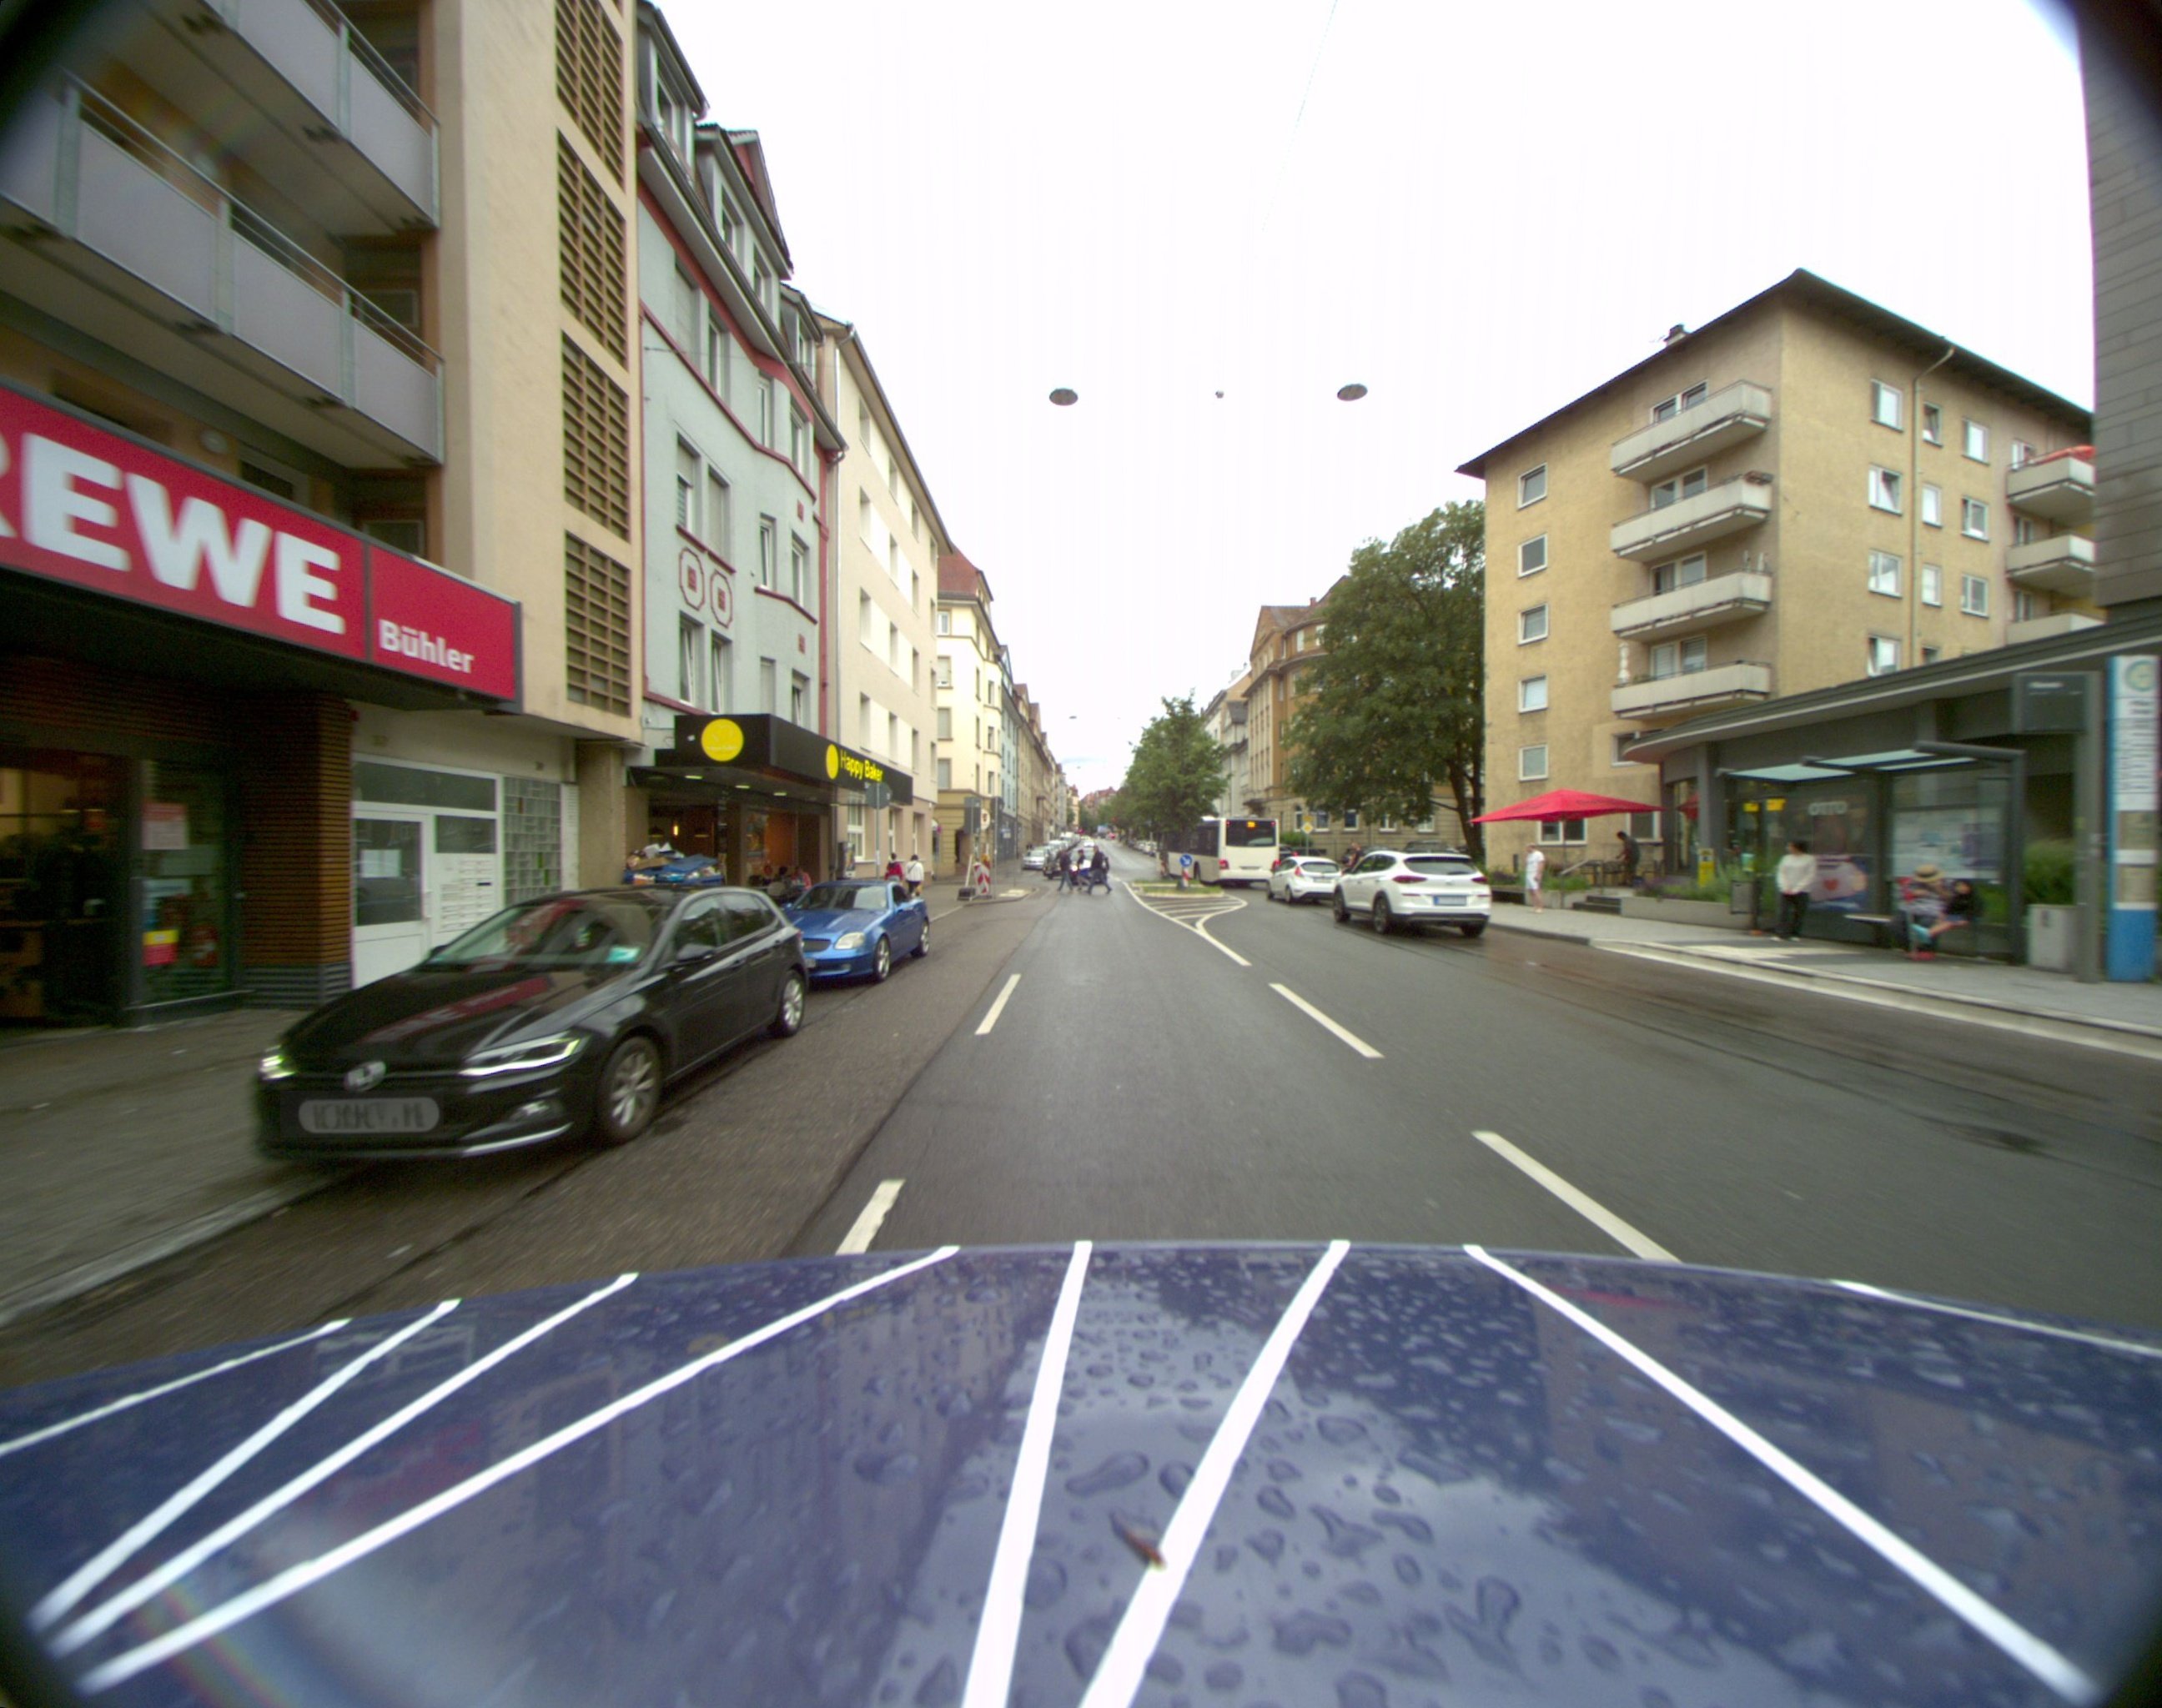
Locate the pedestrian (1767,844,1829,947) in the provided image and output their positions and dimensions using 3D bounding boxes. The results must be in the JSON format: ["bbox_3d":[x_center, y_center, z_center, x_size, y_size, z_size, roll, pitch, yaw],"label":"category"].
[{"bbox_3d":[10.977,0.620,11.642,0.438,1.540,0.533,-1,1,0],"label":"pedestrian"}]

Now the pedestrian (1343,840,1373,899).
[{"bbox_3d":[9.523,0.511,26.117,0.703,2.002,0.782,-1,2,-3],"label":"pedestrian"}]

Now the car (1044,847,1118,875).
[{"bbox_3d":[-0.043,0.357,41.822,3.998,1.412,1.811,-1,0,-3],"label":"car"}]

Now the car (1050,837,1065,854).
[{"bbox_3d":[-2.751,-1.004,90.072,1.733,1.887,3.550,-1,1,-1],"label":"car"}]

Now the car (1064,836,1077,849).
[{"bbox_3d":[-1.581,-1.816,118.922,1.999,1.871,3.999,-1,1,0],"label":"car"}]

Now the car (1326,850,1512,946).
[{"bbox_3d":[6.570,0.758,15.338,1.899,1.564,4.124,1,1,0],"label":"car"}]

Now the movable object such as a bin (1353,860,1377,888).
[{"bbox_3d":[11.184,0.787,29.933,0.742,1.052,0.579,-1,2,4],"label":"movable object such as a bin"}]

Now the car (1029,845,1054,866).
[{"bbox_3d":[-3.233,0.135,62.408,1.817,1.583,3.893,-1,1,-1],"label":"car"}]

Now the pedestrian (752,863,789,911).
[{"bbox_3d":[-8.460,0.882,20.698,0.703,1.251,0.658,2,1,1],"label":"pedestrian"}]

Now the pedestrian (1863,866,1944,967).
[{"bbox_3d":[10.797,0.805,9.991,0.469,1.270,0.549,-1,1,0],"label":"pedestrian"}]

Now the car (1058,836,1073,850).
[{"bbox_3d":[-2.206,-1.618,109.801,1.999,1.871,3.999,-1,1,0],"label":"car"}]

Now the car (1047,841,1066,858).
[{"bbox_3d":[-2.345,-0.458,73.381,1.733,1.486,3.550,-1,1,-1],"label":"car"}]

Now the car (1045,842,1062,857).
[{"bbox_3d":[-2.857,-0.499,79.733,1.733,1.486,3.550,-1,1,-1],"label":"car"}]

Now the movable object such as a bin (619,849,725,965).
[{"bbox_3d":[-6.614,0.814,12.385,1.002,1.783,1.296,0,2,-1],"label":"movable object such as a bin"}]

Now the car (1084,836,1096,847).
[{"bbox_3d":[1.470,-2.151,125.878,1.796,1.768,3.902,-1,1,0],"label":"car"}]

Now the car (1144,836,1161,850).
[{"bbox_3d":[8.711,-1.366,92.908,1.672,1.507,3.392,-3,1,0],"label":"car"}]

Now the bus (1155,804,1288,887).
[{"bbox_3d":[6.287,-0.499,36.785,2.814,3.228,11.950,3,1,-7],"label":"bus"}]

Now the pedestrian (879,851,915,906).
[{"bbox_3d":[-5.729,0.752,23.690,0.701,1.637,0.784,2,1,35],"label":"pedestrian"}]

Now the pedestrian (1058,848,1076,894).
[{"bbox_3d":[-0.533,0.637,29.284,0.611,1.739,0.698,-1,1,1],"label":"pedestrian"}]

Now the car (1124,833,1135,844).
[{"bbox_3d":[8.713,-2.751,135.873,1.640,1.871,3.658,-1,1,0],"label":"car"}]

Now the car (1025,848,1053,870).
[{"bbox_3d":[-3.087,0.350,56.388,1.856,1.456,4.203,-1,1,-1],"label":"car"}]

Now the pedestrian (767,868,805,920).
[{"bbox_3d":[-7.369,0.993,19.011,0.624,1.251,0.659,2,1,9],"label":"pedestrian"}]

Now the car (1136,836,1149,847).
[{"bbox_3d":[8.818,-1.868,109.899,1.558,1.507,3.393,-3,1,1],"label":"car"}]

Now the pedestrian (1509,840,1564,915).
[{"bbox_3d":[10.857,0.552,18.116,0.793,1.699,0.761,-3,1,-24],"label":"pedestrian"}]

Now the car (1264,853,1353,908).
[{"bbox_3d":[7.001,0.756,23.805,1.619,1.456,3.805,2,1,0],"label":"car"}]

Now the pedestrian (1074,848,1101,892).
[{"bbox_3d":[0.266,0.630,29.921,0.790,1.656,0.699,4,2,16],"label":"pedestrian"}]

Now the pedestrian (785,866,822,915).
[{"bbox_3d":[-7.347,0.950,20.109,0.703,1.251,0.658,2,1,1],"label":"pedestrian"}]

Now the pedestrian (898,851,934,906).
[{"bbox_3d":[-5.062,0.752,23.370,0.701,1.637,0.784,2,1,35],"label":"pedestrian"}]

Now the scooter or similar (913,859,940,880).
[{"bbox_3d":[-9.119,0.904,44.939,1.482,1.144,0.486,-4,8,-37],"label":"scooter or similar"}]

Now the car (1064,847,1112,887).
[{"bbox_3d":[0.252,0.538,34.587,1.856,1.646,4.202,-2,1,-4],"label":"car"}]

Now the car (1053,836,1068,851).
[{"bbox_3d":[-2.574,-1.368,96.876,1.719,1.871,3.907,-1,1,0],"label":"car"}]

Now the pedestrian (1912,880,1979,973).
[{"bbox_3d":[10.817,0.898,9.512,0.392,1.110,0.386,-1,1,0],"label":"pedestrian"}]

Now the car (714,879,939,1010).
[{"bbox_3d":[-3.364,1.134,10.865,1.738,1.302,3.767,-3,1,3],"label":"car"}]

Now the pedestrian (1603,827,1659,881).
[{"bbox_3d":[17.223,0.001,23.797,1.153,1.602,0.940,-3,1,-24],"label":"pedestrian"}]

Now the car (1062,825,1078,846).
[{"bbox_3d":[-1.887,-3.204,132.930,2.554,3.613,9.048,-1,1,0],"label":"car"}]

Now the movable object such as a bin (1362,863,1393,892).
[{"bbox_3d":[11.334,0.873,29.052,0.743,1.052,0.811,-2,2,-24],"label":"movable object such as a bin"}]

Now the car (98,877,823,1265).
[{"bbox_3d":[-3.443,1.034,5.375,1.734,1.538,3.982,-3,0,1],"label":"car"}]

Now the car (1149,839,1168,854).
[{"bbox_3d":[8.518,-0.845,83.464,1.672,1.507,3.392,-3,1,0],"label":"car"}]

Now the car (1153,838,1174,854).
[{"bbox_3d":[8.447,-0.795,78.159,1.672,1.507,3.695,-3,1,0],"label":"car"}]

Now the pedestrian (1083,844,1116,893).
[{"bbox_3d":[0.677,0.517,27.582,1.062,1.738,0.854,-1,1,7],"label":"pedestrian"}]
